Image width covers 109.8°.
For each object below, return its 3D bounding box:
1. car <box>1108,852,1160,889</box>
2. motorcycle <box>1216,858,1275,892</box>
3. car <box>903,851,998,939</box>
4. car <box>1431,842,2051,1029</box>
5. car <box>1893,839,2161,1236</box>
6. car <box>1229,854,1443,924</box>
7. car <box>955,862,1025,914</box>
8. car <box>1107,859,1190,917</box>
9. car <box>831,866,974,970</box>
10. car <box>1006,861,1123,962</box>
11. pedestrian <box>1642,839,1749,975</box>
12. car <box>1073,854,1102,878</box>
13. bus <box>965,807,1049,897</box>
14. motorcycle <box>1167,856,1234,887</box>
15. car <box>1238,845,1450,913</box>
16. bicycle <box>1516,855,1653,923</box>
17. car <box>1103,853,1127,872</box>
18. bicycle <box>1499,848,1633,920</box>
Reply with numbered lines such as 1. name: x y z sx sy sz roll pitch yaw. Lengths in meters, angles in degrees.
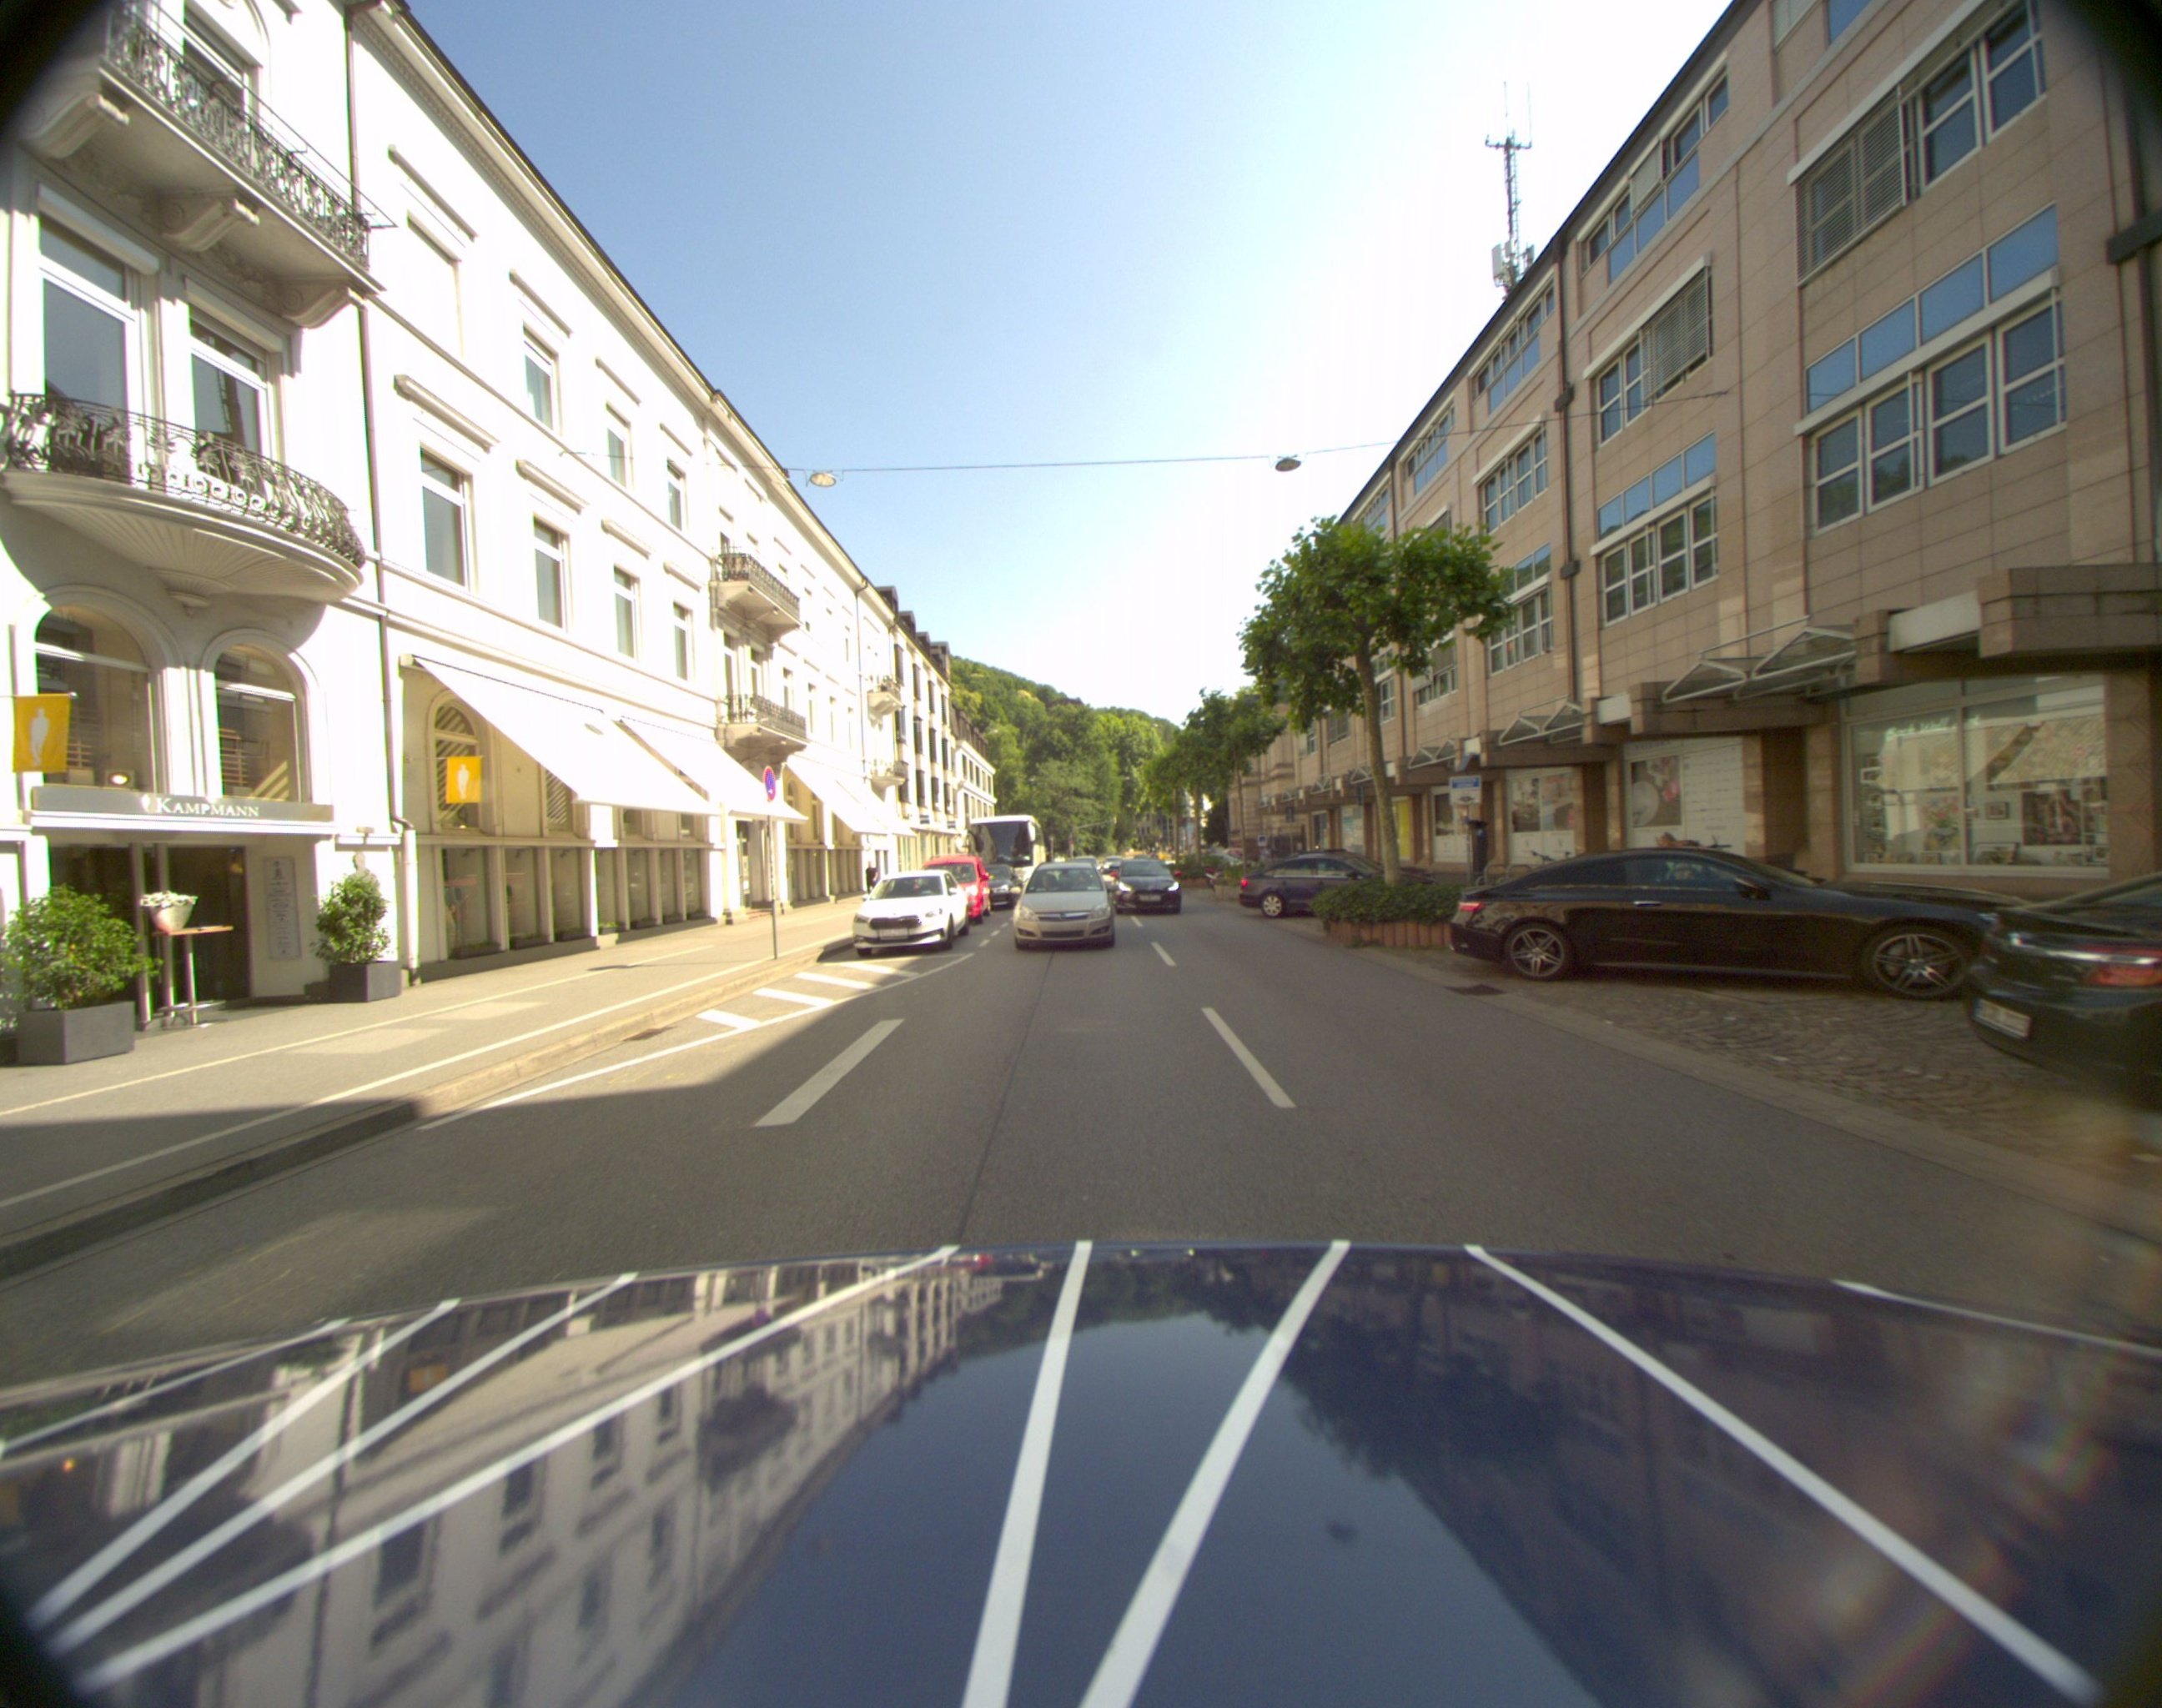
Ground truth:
1. car: 2.268 0.668 33.496 1.734 1.389 4.105 -4 1 -2
2. motorcycle: 6.555 0.823 30.290 2.056 1.281 0.980 -2 0 39
3. car: -3.401 0.977 20.650 1.703 1.901 4.605 -7 1 -1
4. car: 6.488 0.715 8.146 4.609 1.438 1.736 -3 -1 45
5. car: 6.632 0.589 2.833 4.521 1.496 1.795 -6 0 31
6. car: 5.951 0.791 18.033 4.392 1.438 1.890 -2 -1 40
7. car: -2.968 1.076 25.661 1.868 1.479 4.414 -3 0 -1
8. car: 1.808 0.900 21.562 1.868 1.469 4.106 0 -1 -1
9. car: -3.309 1.114 14.937 1.799 1.515 4.262 -4 1 -1
10. car: -0.313 0.932 14.223 1.791 1.484 4.367 -2 0 -1
11. pedestrian: 8.835 0.732 10.954 0.840 1.868 0.844 -2 1 1
12. car: 0.436 0.791 49.227 1.775 1.469 4.107 -1 -1 1
13. bus: -3.207 -0.122 36.543 2.924 3.516 12.498 -2 1 -1
14. motorcycle: 5.524 0.805 35.287 0.980 1.342 3.095 -2 0 -42
15. car: 7.063 0.663 20.762 5.120 1.623 1.847 -2 0 40
16. bicycle: 8.690 0.592 13.142 2.001 1.096 0.476 -2 1 2
17. car: 2.727 0.672 61.596 1.733 1.389 4.106 -3 0 1
18. bicycle: 8.685 0.532 13.651 2.001 1.095 0.476 -5 0 2
